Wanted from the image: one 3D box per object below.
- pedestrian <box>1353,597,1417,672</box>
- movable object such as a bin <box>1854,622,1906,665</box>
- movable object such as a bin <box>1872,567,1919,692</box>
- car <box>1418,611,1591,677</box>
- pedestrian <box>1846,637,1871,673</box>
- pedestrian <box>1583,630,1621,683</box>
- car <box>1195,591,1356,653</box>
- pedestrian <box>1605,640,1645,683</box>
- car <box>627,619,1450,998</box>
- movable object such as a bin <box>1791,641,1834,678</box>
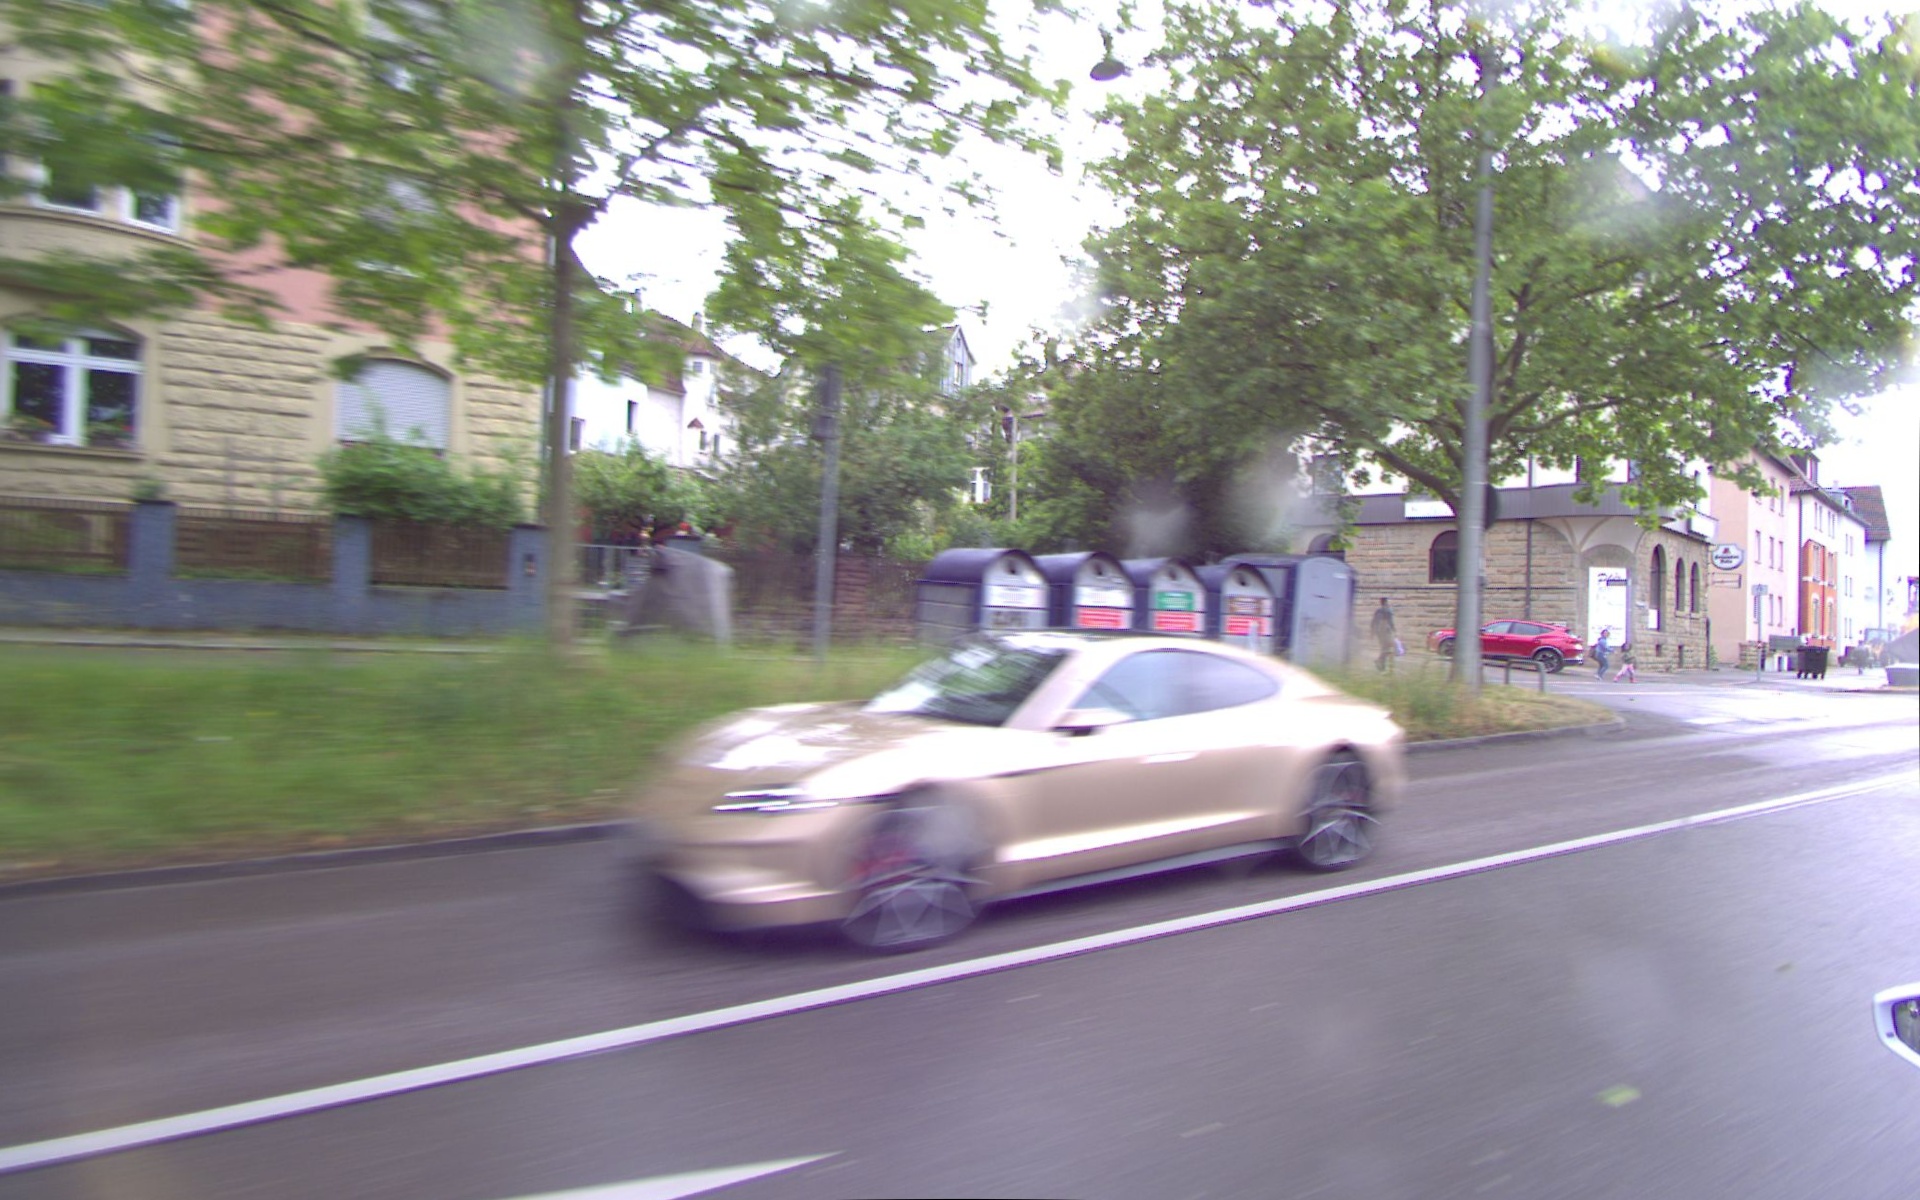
[{"bbox_3d":[9.635,0.763,22.775,0.983,1.652,0.883,0,1,-27],"label":"pedestrian"},{"bbox_3d":[62.927,2.928,68.696,4.589,2.719,1.977,0,1,-40],"label":"movable object such as a bin"},{"bbox_3d":[32.602,0.937,33.025,5.932,3.907,2.754,0,1,-37],"label":"movable object such as a bin"},{"bbox_3d":[17.052,1.314,31.572,4.472,1.595,1.929,5,3,37],"label":"car"},{"bbox_3d":[41.757,2.550,46.670,1.084,1.610,0.756,0,1,-45],"label":"pedestrian"},{"bbox_3d":[17.912,1.557,28.028,0.795,1.420,0.779,2,1,39],"label":"pedestrian"},{"bbox_3d":[9.536,0.622,30.519,4.204,1.404,1.877,7,4,41],"label":"car"},{"bbox_3d":[18.833,1.741,28.455,0.725,1.139,0.736,0,1,-38],"label":"pedestrian"},{"bbox_3d":[0.636,0.849,6.035,4.662,1.371,2.059,0,1,-33],"label":"car"},{"bbox_3d":[31.335,2.174,36.934,0.876,1.239,1.203,1,1,26],"label":"movable object such as a bin"}]
